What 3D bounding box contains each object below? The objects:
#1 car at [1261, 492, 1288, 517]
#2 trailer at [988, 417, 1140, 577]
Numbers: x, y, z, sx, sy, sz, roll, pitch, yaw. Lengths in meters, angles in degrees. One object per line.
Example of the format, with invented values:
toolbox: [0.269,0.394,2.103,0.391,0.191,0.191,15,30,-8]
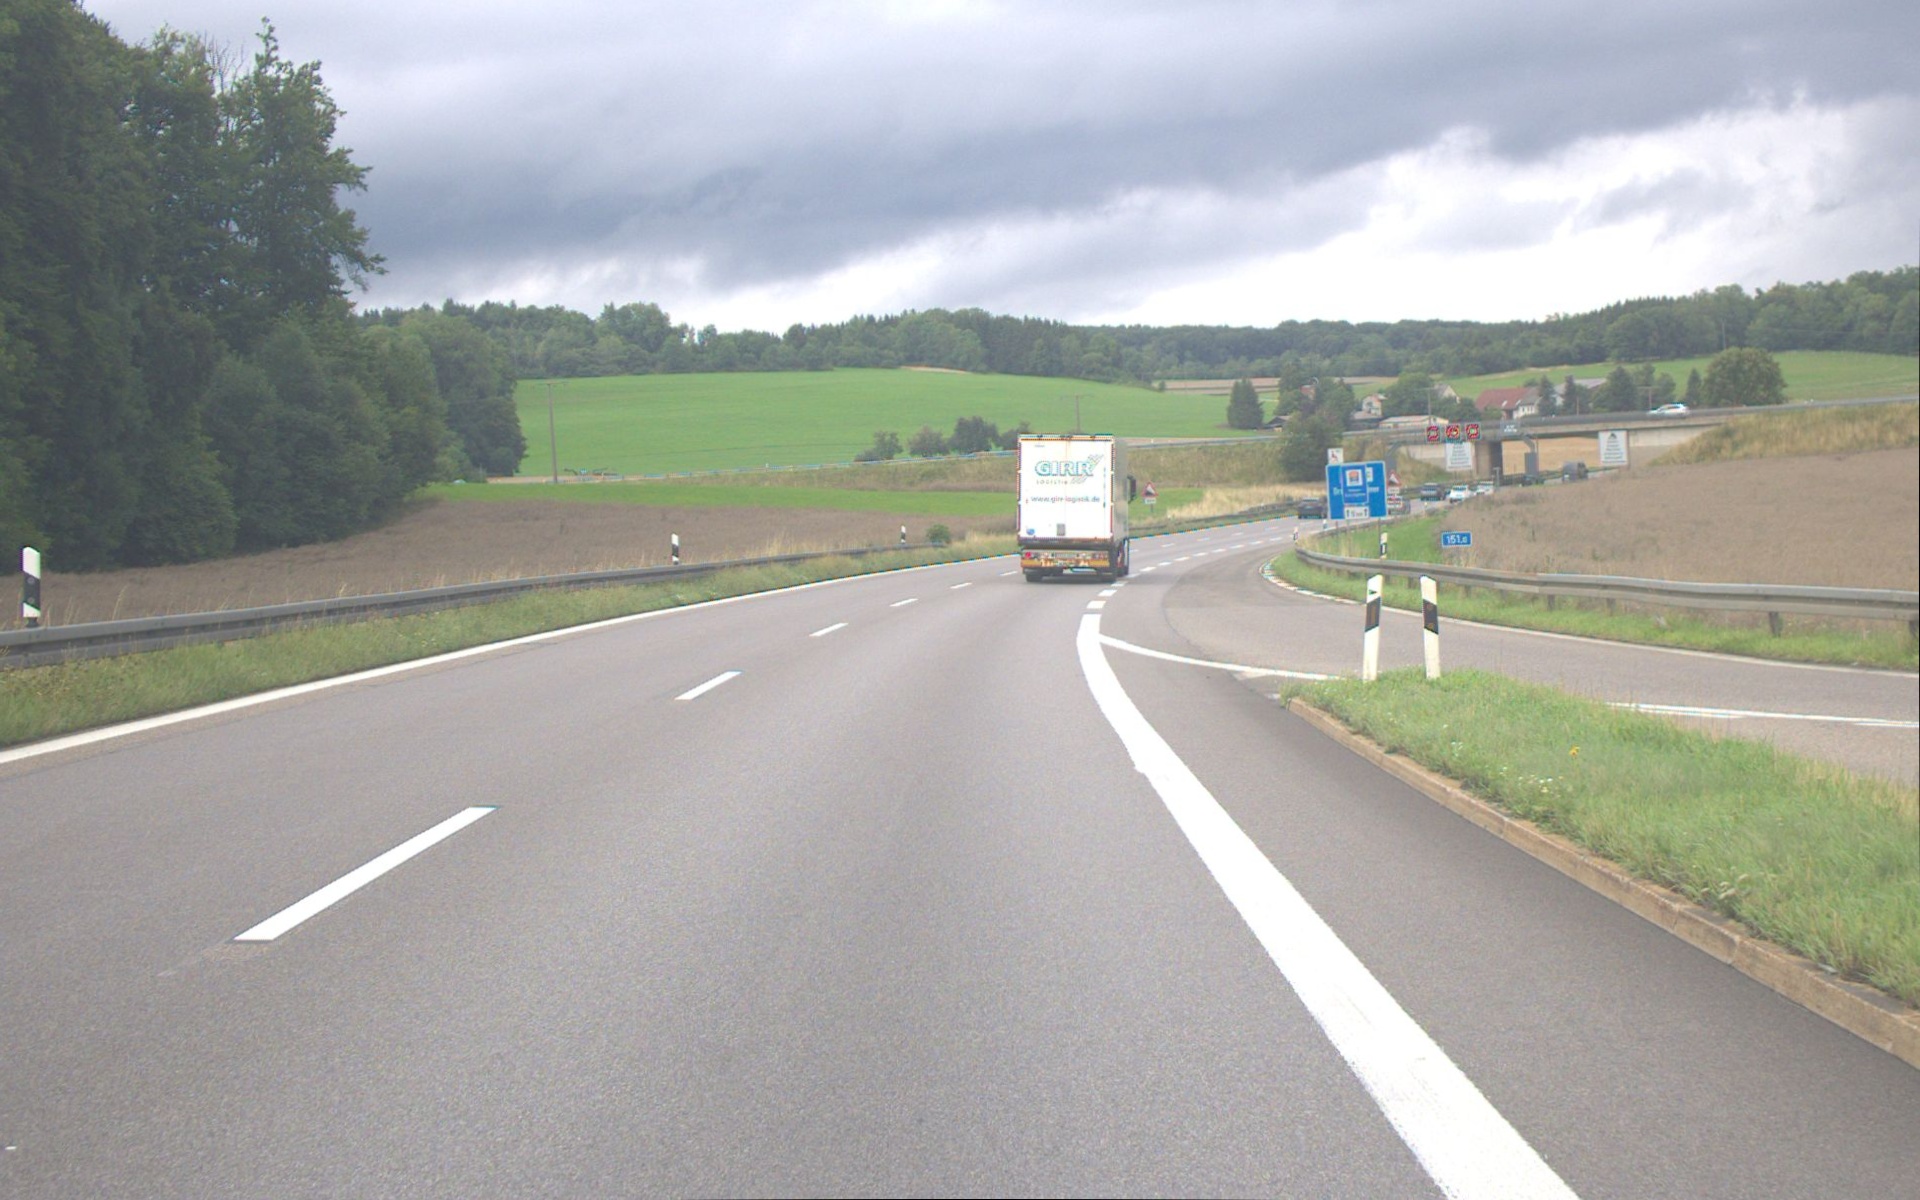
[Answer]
car: [23.937,-7.255,261.439,1.903,1.789,3.999,-1,-1,7]
trailer: [3.117,-2.868,97.408,3.806,4.160,14.807,0,1,4]
